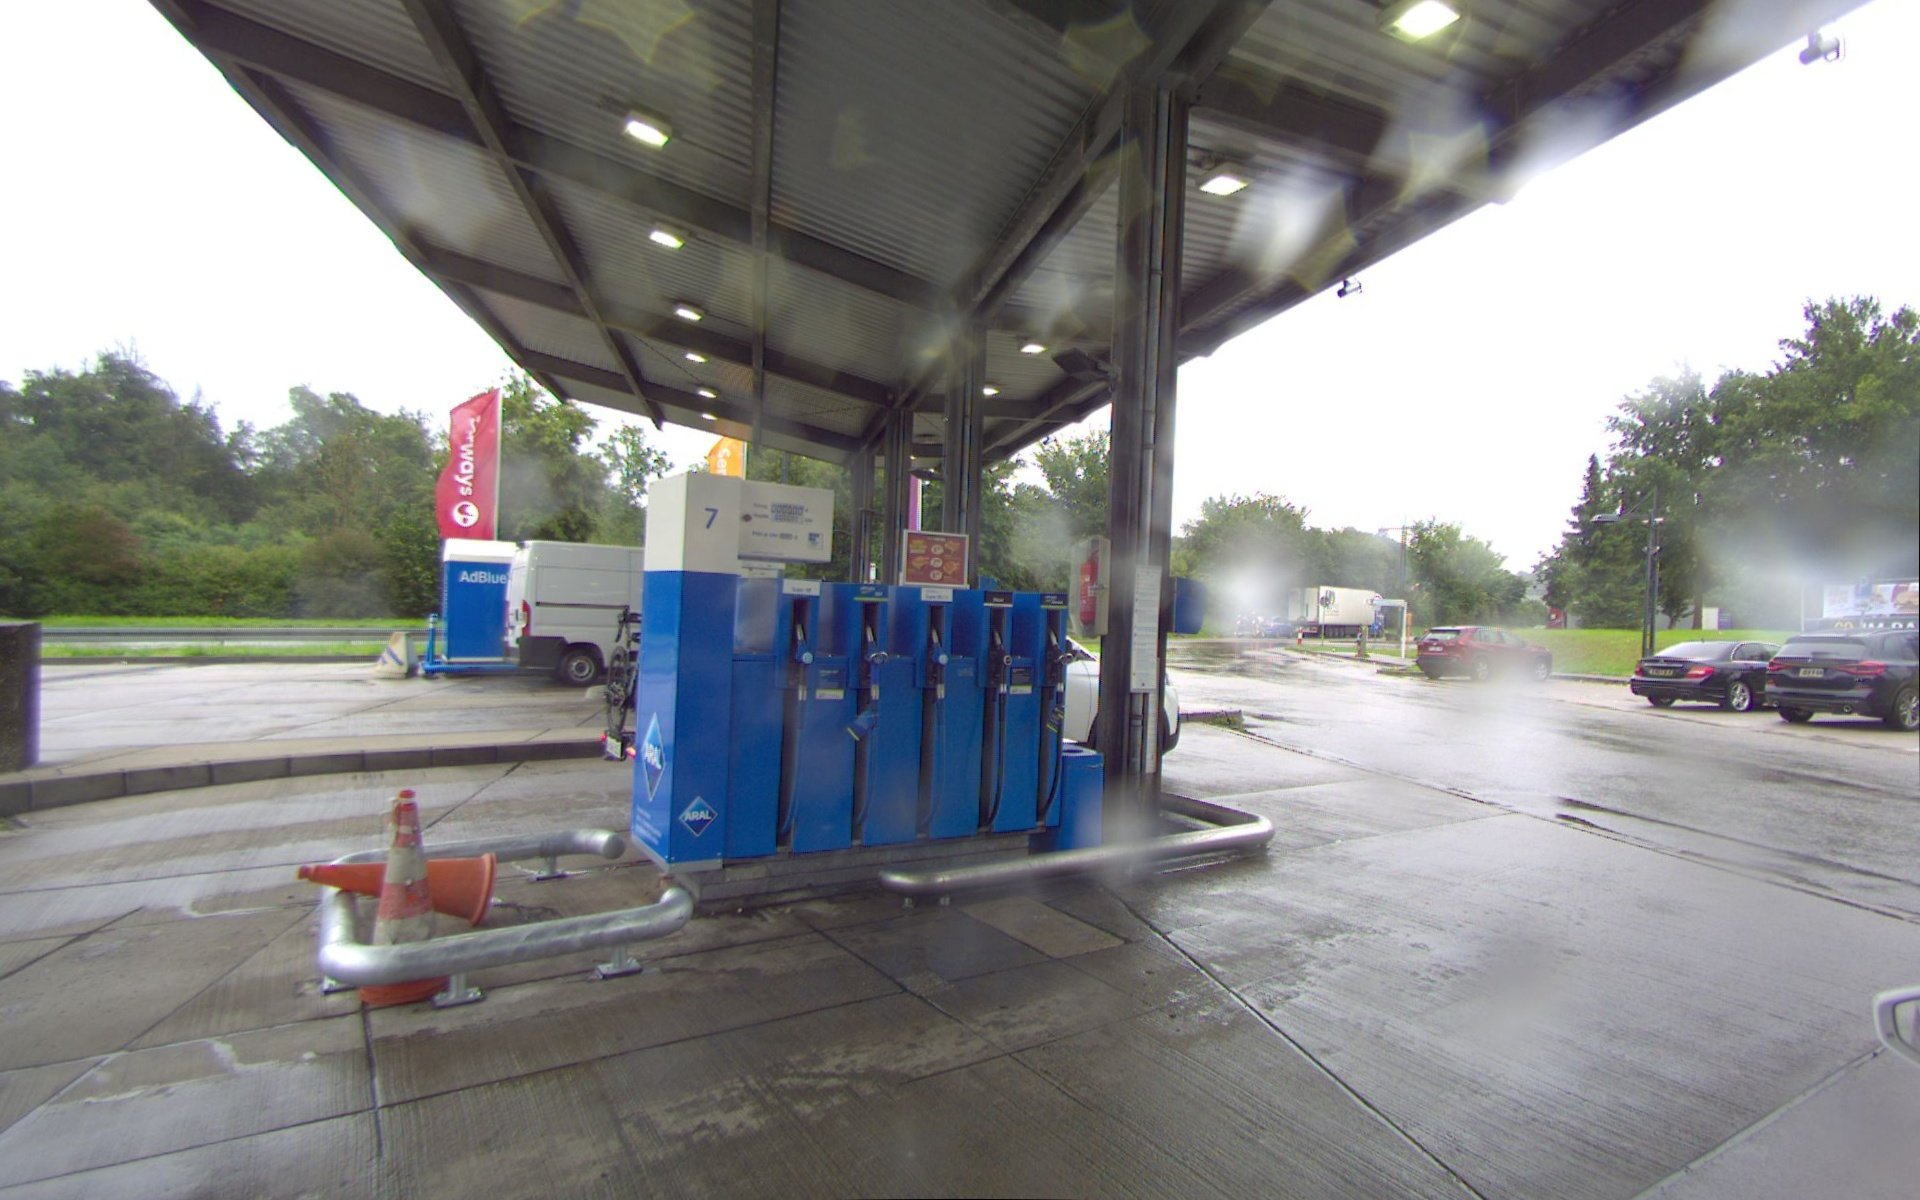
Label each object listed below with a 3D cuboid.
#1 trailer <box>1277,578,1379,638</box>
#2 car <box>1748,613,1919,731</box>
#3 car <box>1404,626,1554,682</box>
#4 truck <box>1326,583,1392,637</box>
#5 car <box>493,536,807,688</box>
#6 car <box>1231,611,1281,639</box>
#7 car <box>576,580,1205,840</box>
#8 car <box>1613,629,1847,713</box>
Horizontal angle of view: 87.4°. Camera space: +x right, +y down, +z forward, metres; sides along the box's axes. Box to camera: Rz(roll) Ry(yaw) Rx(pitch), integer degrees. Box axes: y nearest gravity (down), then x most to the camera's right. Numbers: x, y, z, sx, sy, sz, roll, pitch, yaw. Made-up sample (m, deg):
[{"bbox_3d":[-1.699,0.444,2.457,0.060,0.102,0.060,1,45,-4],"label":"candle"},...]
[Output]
[{"bbox_3d":[30.912,0.749,83.863,3.416,4.618,13.847,2,0,40],"label":"trailer"},{"bbox_3d":[16.153,1.188,17.410,4.344,1.852,1.883,1,-1,-19],"label":"car"},{"bbox_3d":[16.003,1.644,30.976,4.294,1.617,1.879,1,-1,-24],"label":"car"},{"bbox_3d":[35.585,0.919,89.467,3.416,4.618,6.704,2,0,40],"label":"truck"},{"bbox_3d":[-5.761,0.267,18.946,5.227,2.496,2.306,1,-1,-34],"label":"car"},{"bbox_3d":[20.870,1.762,70.793,1.903,1.862,4.373,1,0,38],"label":"car"},{"bbox_3d":[-0.368,0.715,8.289,4.953,1.586,1.803,1,0,-34],"label":"car"},{"bbox_3d":[15.940,1.417,20.830,4.119,1.585,1.883,1,-1,-19],"label":"car"}]
